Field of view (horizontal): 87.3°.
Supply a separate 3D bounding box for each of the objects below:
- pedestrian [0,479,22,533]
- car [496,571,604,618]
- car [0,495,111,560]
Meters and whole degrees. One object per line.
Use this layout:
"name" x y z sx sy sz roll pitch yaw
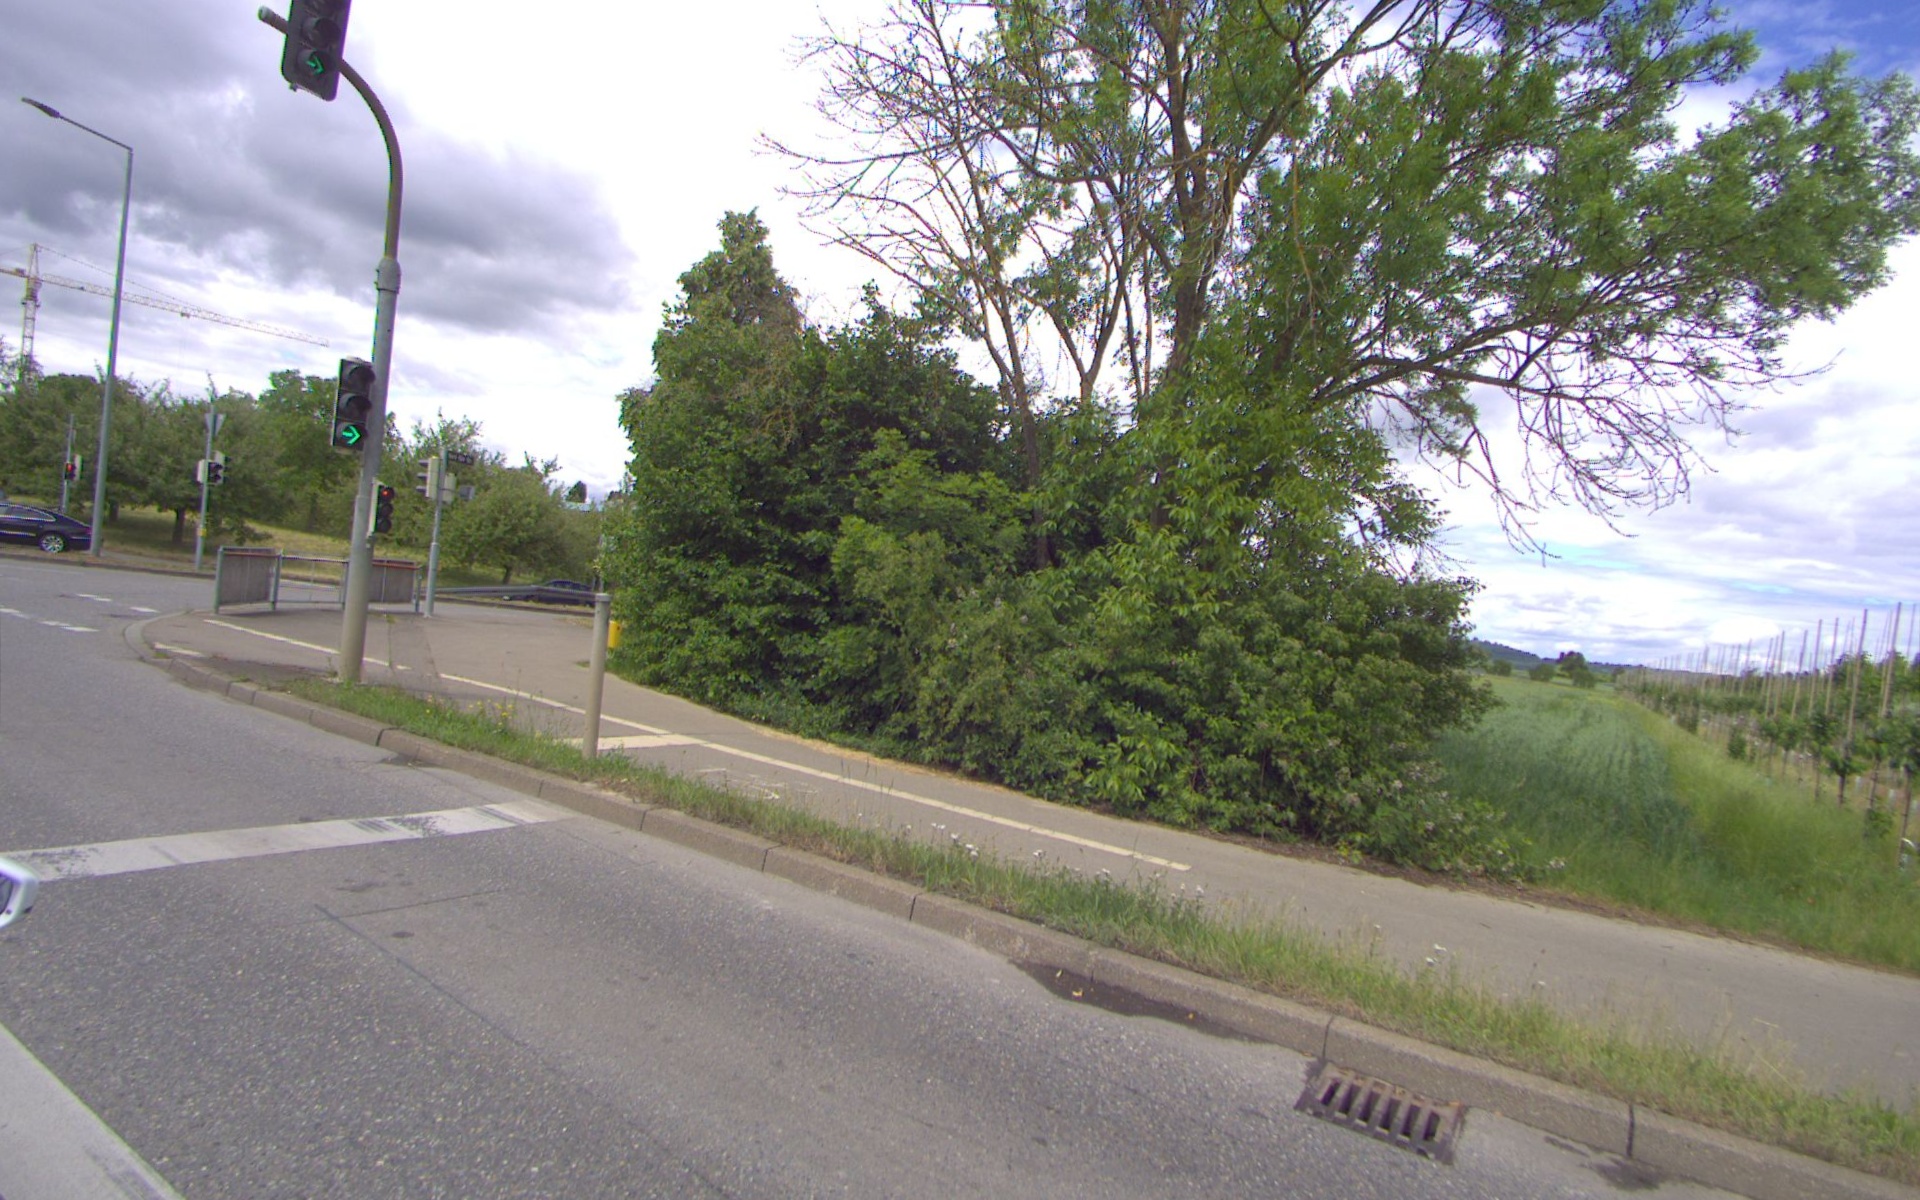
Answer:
"pedestrian" -33.985 -3.367 35.418 1.024 1.813 0.721 7 -1 5
"car" -17.809 -0.229 43.817 1.734 1.463 3.879 6 -3 39
"car" -29.064 -2.324 30.845 4.435 1.583 1.981 8 -3 -38
